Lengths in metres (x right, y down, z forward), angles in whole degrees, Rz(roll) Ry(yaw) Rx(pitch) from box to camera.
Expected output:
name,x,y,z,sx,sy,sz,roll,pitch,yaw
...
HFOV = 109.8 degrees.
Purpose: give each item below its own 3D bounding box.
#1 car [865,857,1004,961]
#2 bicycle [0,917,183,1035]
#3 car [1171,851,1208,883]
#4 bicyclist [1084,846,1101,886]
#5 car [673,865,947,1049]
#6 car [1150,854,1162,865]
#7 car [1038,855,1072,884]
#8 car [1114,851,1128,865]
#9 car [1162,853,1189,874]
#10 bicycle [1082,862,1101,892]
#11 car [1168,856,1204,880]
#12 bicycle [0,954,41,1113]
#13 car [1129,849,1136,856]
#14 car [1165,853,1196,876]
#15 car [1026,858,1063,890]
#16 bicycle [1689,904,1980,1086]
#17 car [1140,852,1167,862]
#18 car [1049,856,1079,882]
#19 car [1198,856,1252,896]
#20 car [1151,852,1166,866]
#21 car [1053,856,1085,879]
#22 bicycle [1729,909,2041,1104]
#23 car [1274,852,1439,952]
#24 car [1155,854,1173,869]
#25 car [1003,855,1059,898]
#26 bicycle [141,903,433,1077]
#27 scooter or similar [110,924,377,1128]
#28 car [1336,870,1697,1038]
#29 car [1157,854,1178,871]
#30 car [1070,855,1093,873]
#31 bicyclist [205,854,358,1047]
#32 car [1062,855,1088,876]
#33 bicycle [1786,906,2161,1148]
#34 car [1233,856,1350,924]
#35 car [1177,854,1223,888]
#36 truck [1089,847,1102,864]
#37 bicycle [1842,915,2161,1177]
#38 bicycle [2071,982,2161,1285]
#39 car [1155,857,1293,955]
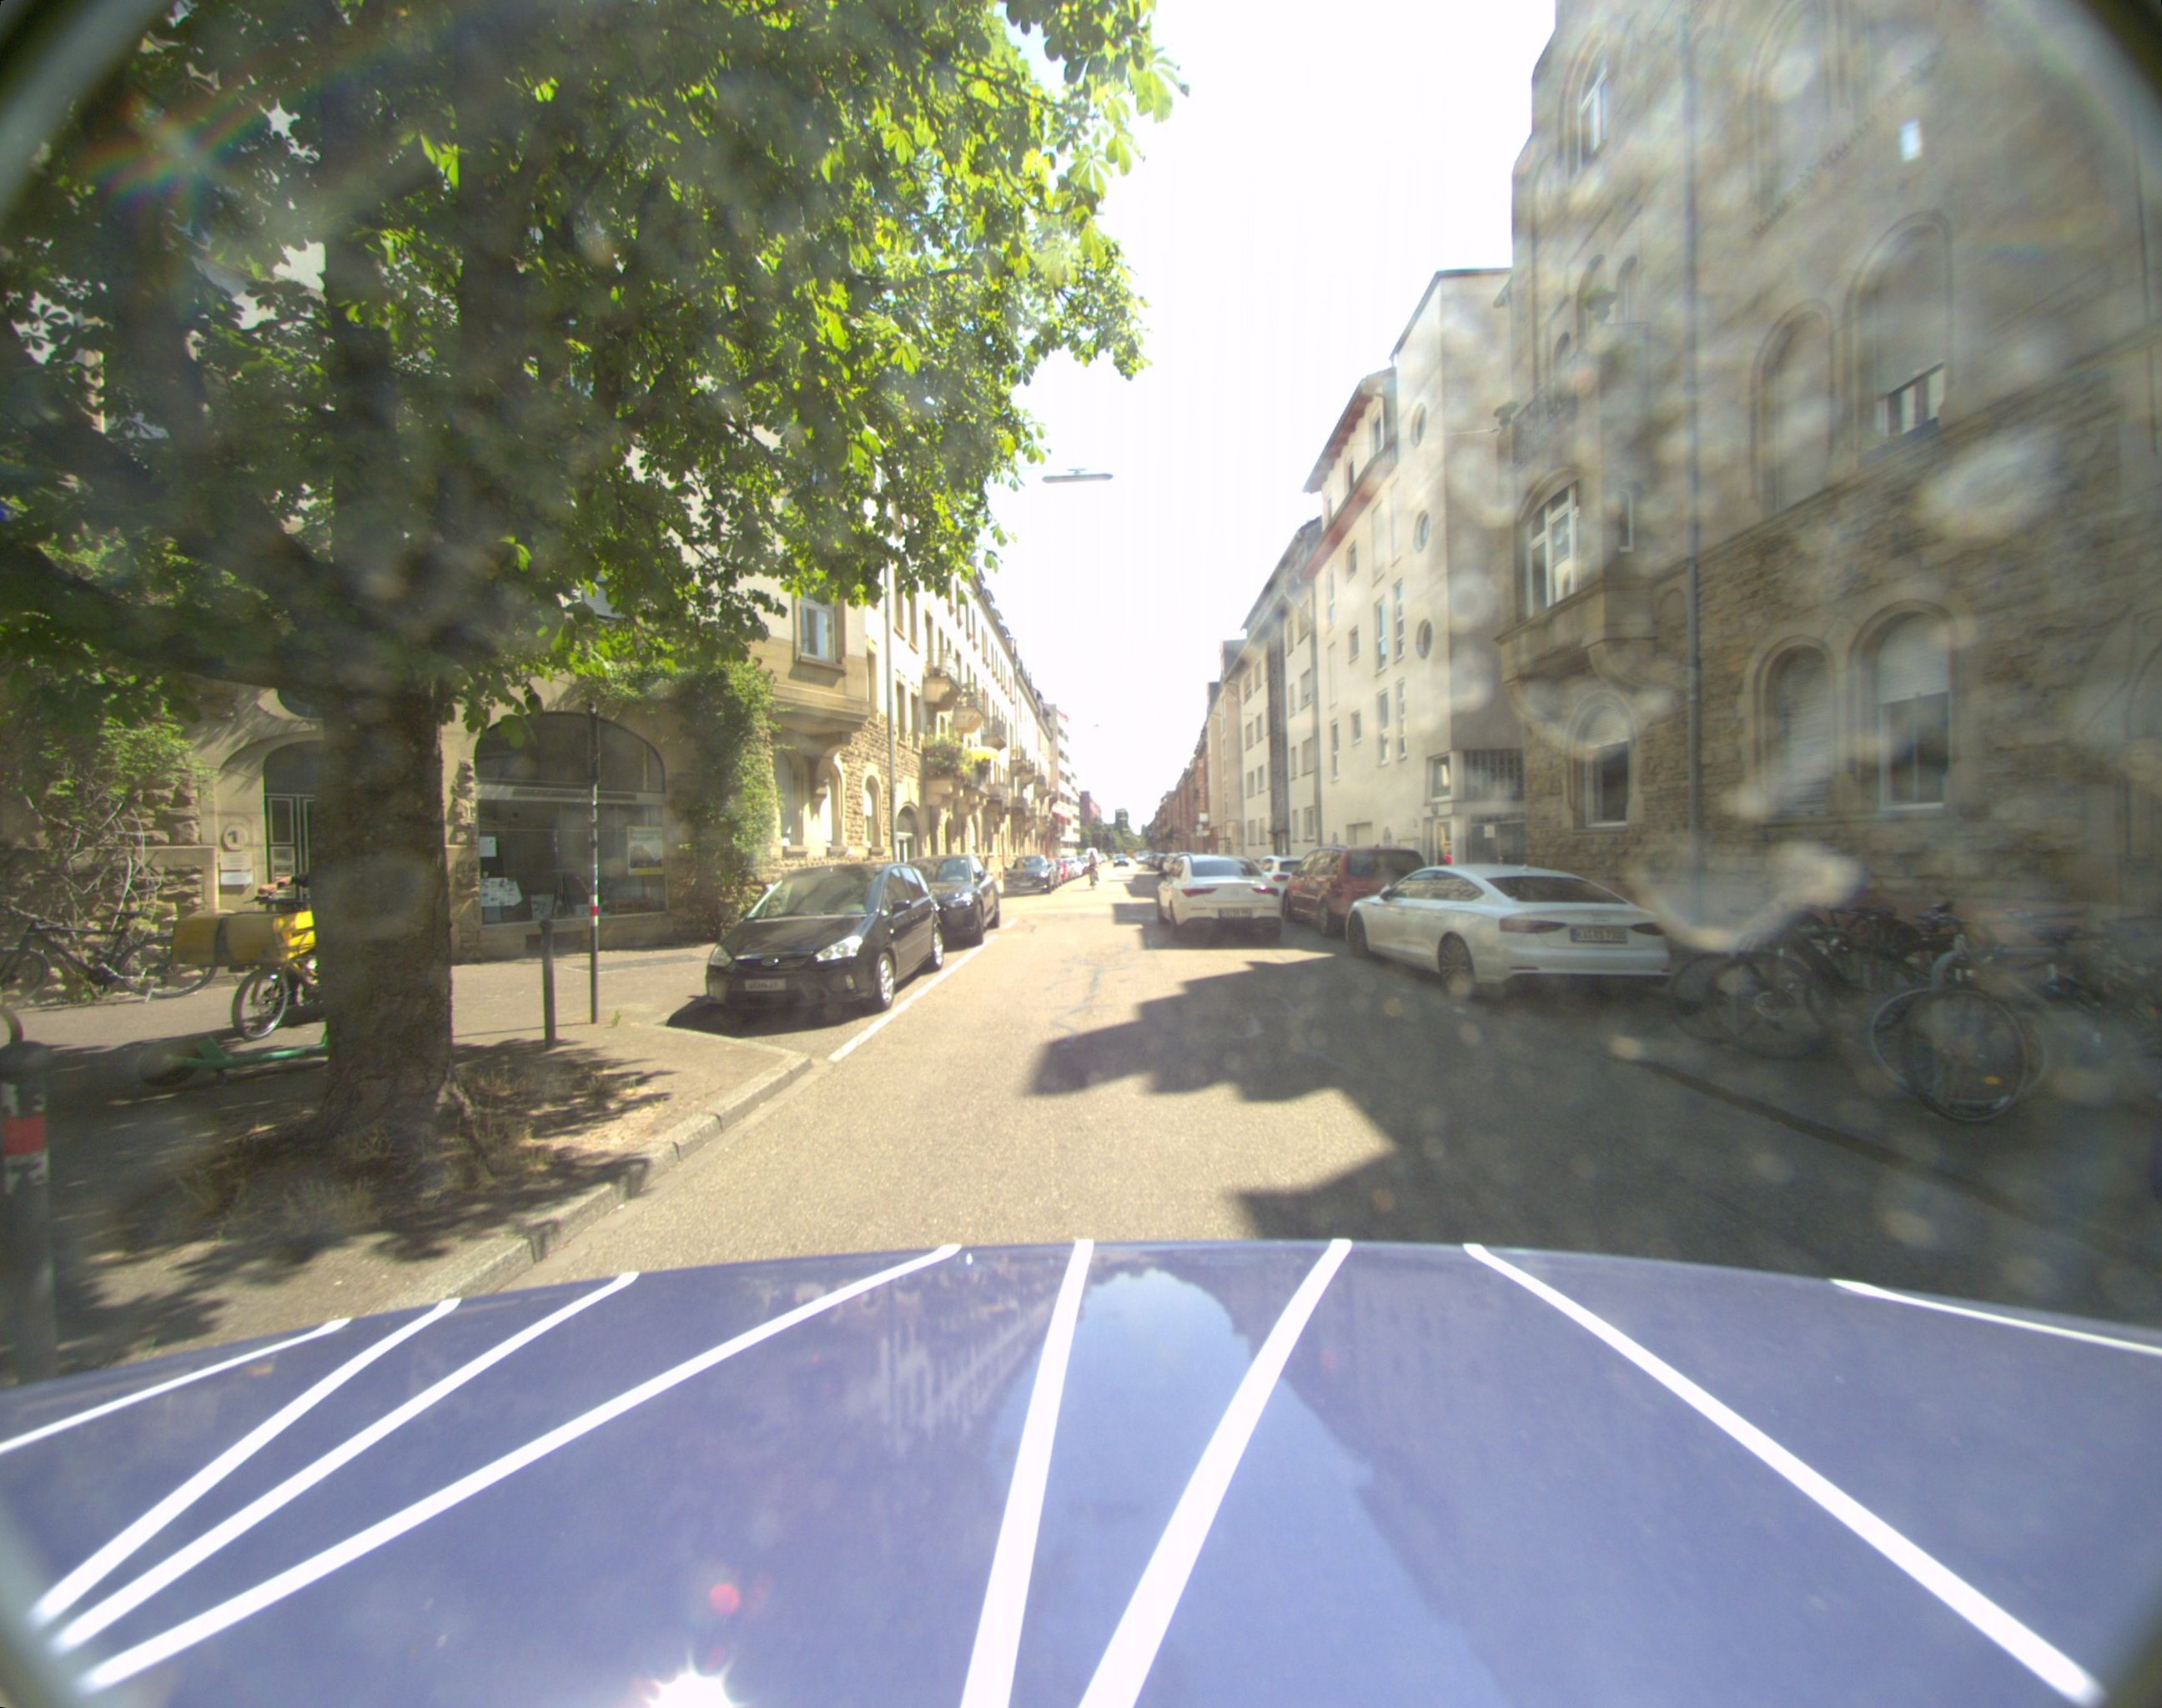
name,x,y,z,sx,sy,sz,roll,pitch,yaw
car,-2.642,0.915,14.713,1.740,1.587,4.347,-3,0,0
bicycle,-10.577,1.237,7.706,0.548,1.033,1.841,0,1,35
car,5.956,0.663,42.101,1.607,1.634,3.977,1,1,2
bicyclist,0.482,0.494,32.104,0.644,1.640,0.622,-1,1,4
car,-2.874,0.987,9.112,1.667,1.531,4.177,-3,0,1
car,9.585,0.688,97.343,1.449,1.391,3.526,3,1,4
car,-1.466,0.855,43.688,1.574,1.444,3.843,-3,0,3
car,4.882,0.492,93.439,1.624,1.600,3.598,-1,1,3
car,7.544,0.746,61.032,1.632,1.540,3.853,3,1,0
bicycle,0.471,0.967,32.038,0.671,1.169,2.095,-1,1,4
car,6.519,0.839,47.425,1.769,1.385,4.349,1,1,2
bicycle,-8.176,1.218,4.986,1.904,1.033,0.634,0,1,3
car,14.320,-0.478,211.620,1.784,2.002,4.001,-1,0,6
car,7.009,0.702,54.028,1.734,1.486,4.349,2,1,2
car,-1.781,0.945,37.876,1.516,1.390,3.972,-3,0,1
bicycle,5.120,0.941,5.184,1.707,1.094,0.292,-3,1,-2
car,10.875,0.381,114.083,3.995,1.422,1.678,-1,1,4
car,-1.057,0.923,48.791,1.593,1.444,3.856,-3,0,2
car,5.838,0.851,31.147,1.571,1.483,3.894,1,1,2
car,9.393,0.600,92.408,1.449,1.633,3.526,3,1,2
car,-0.806,0.933,54.186,1.720,1.444,4.598,-3,0,5
bicycle,5.133,0.956,4.872,1.707,1.094,0.292,-3,1,-2
car,4.993,0.770,14.394,1.676,1.574,4.052,1,1,1
car,8.423,0.725,77.021,1.632,1.421,3.679,3,1,5
car,-2.019,0.877,32.016,1.837,1.558,4.605,-3,0,1
bicycle,-7.314,1.145,7.250,0.797,1.162,2.574,-1,1,-19
scooter or similar,-5.722,1.110,5.250,0.442,1.130,1.187,0,1,39
car,4.683,0.953,9.105,1.706,1.345,4.514,1,1,0
car,8.159,0.811,71.685,1.781,1.421,3.838,3,1,5
car,0.089,0.835,65.658,1.828,1.423,4.489,-2,0,1
bicyclist,-7.181,0.822,6.868,0.680,1.638,0.661,-1,1,-17
car,-0.453,0.871,59.717,1.740,1.449,4.669,-1,1,3
bicycle,5.173,0.947,4.303,1.977,1.123,0.395,-4,1,-2
car,5.175,0.821,19.281,1.781,1.451,4.278,1,1,0
car,5.700,0.777,36.907,1.660,1.510,4.671,1,1,2
truck,2.390,0.208,122.765,1.869,2.715,4.508,-1,1,3
bicycle,5.060,0.925,3.845,2.000,1.123,0.436,-3,1,-2
bicycle,4.720,0.987,2.769,1.709,1.039,0.414,-3,1,-2
car,2.427,0.815,13.997,1.846,1.452,4.362,1,1,2
